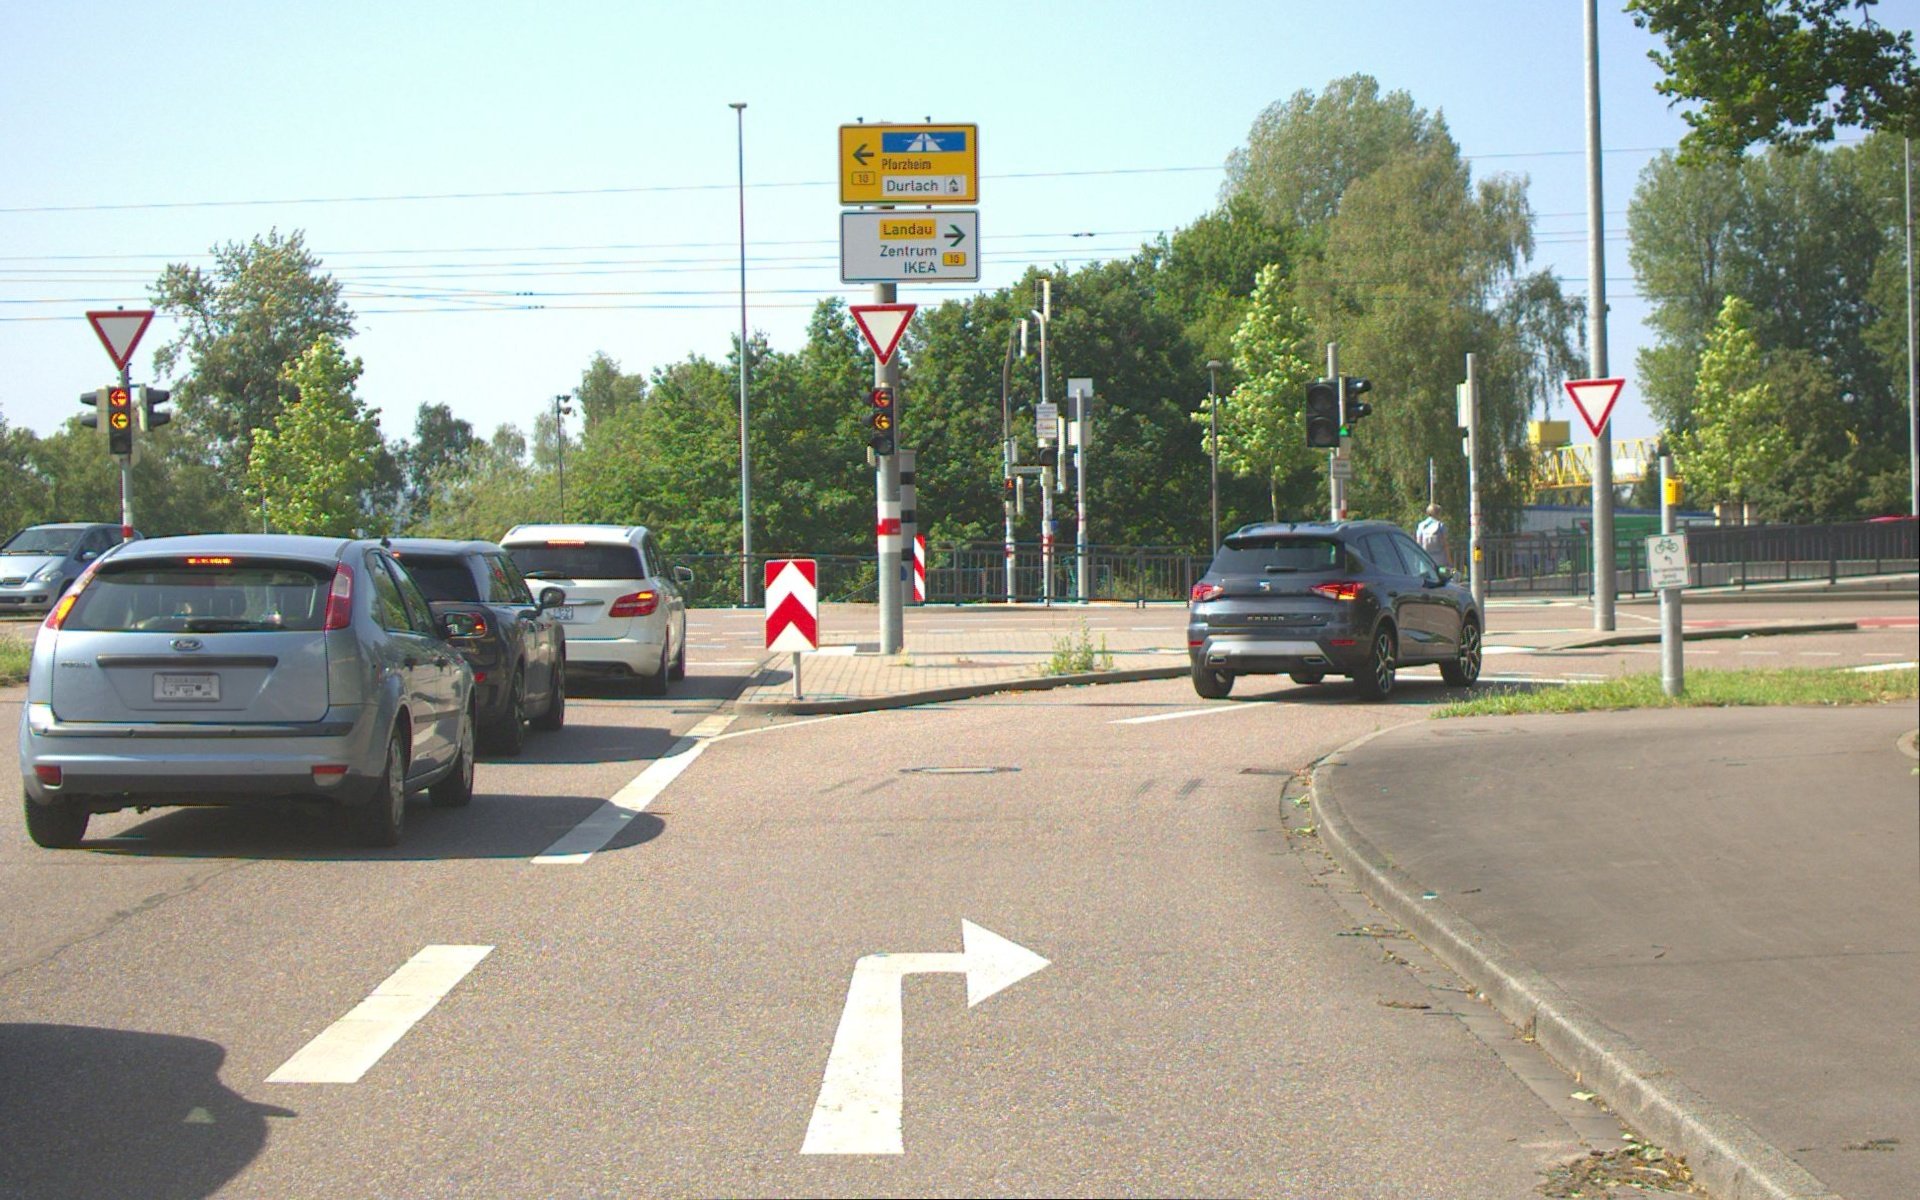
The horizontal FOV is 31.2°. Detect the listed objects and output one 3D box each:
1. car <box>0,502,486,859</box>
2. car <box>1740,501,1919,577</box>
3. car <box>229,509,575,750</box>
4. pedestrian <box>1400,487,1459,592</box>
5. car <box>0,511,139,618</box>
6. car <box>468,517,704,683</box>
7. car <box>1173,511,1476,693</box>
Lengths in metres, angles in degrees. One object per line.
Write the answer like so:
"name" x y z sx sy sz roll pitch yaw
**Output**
"car" -3.516 0.316 17.526 1.706 1.568 4.175 -1 1 -2
"car" 17.983 -1.244 69.482 3.986 1.440 1.747 -1 1 -2
"car" -3.833 0.141 24.261 1.737 1.506 4.201 -2 1 0
"pedestrian" 6.922 -0.892 50.652 0.773 1.505 1.007 -1 2 11
"car" -14.808 -0.617 56.548 1.627 1.619 3.917 -1 2 0
"car" -3.437 -0.051 32.297 1.741 1.443 4.389 0 1 0
"car" 3.305 -0.017 30.686 1.672 1.518 3.372 0 1 25
